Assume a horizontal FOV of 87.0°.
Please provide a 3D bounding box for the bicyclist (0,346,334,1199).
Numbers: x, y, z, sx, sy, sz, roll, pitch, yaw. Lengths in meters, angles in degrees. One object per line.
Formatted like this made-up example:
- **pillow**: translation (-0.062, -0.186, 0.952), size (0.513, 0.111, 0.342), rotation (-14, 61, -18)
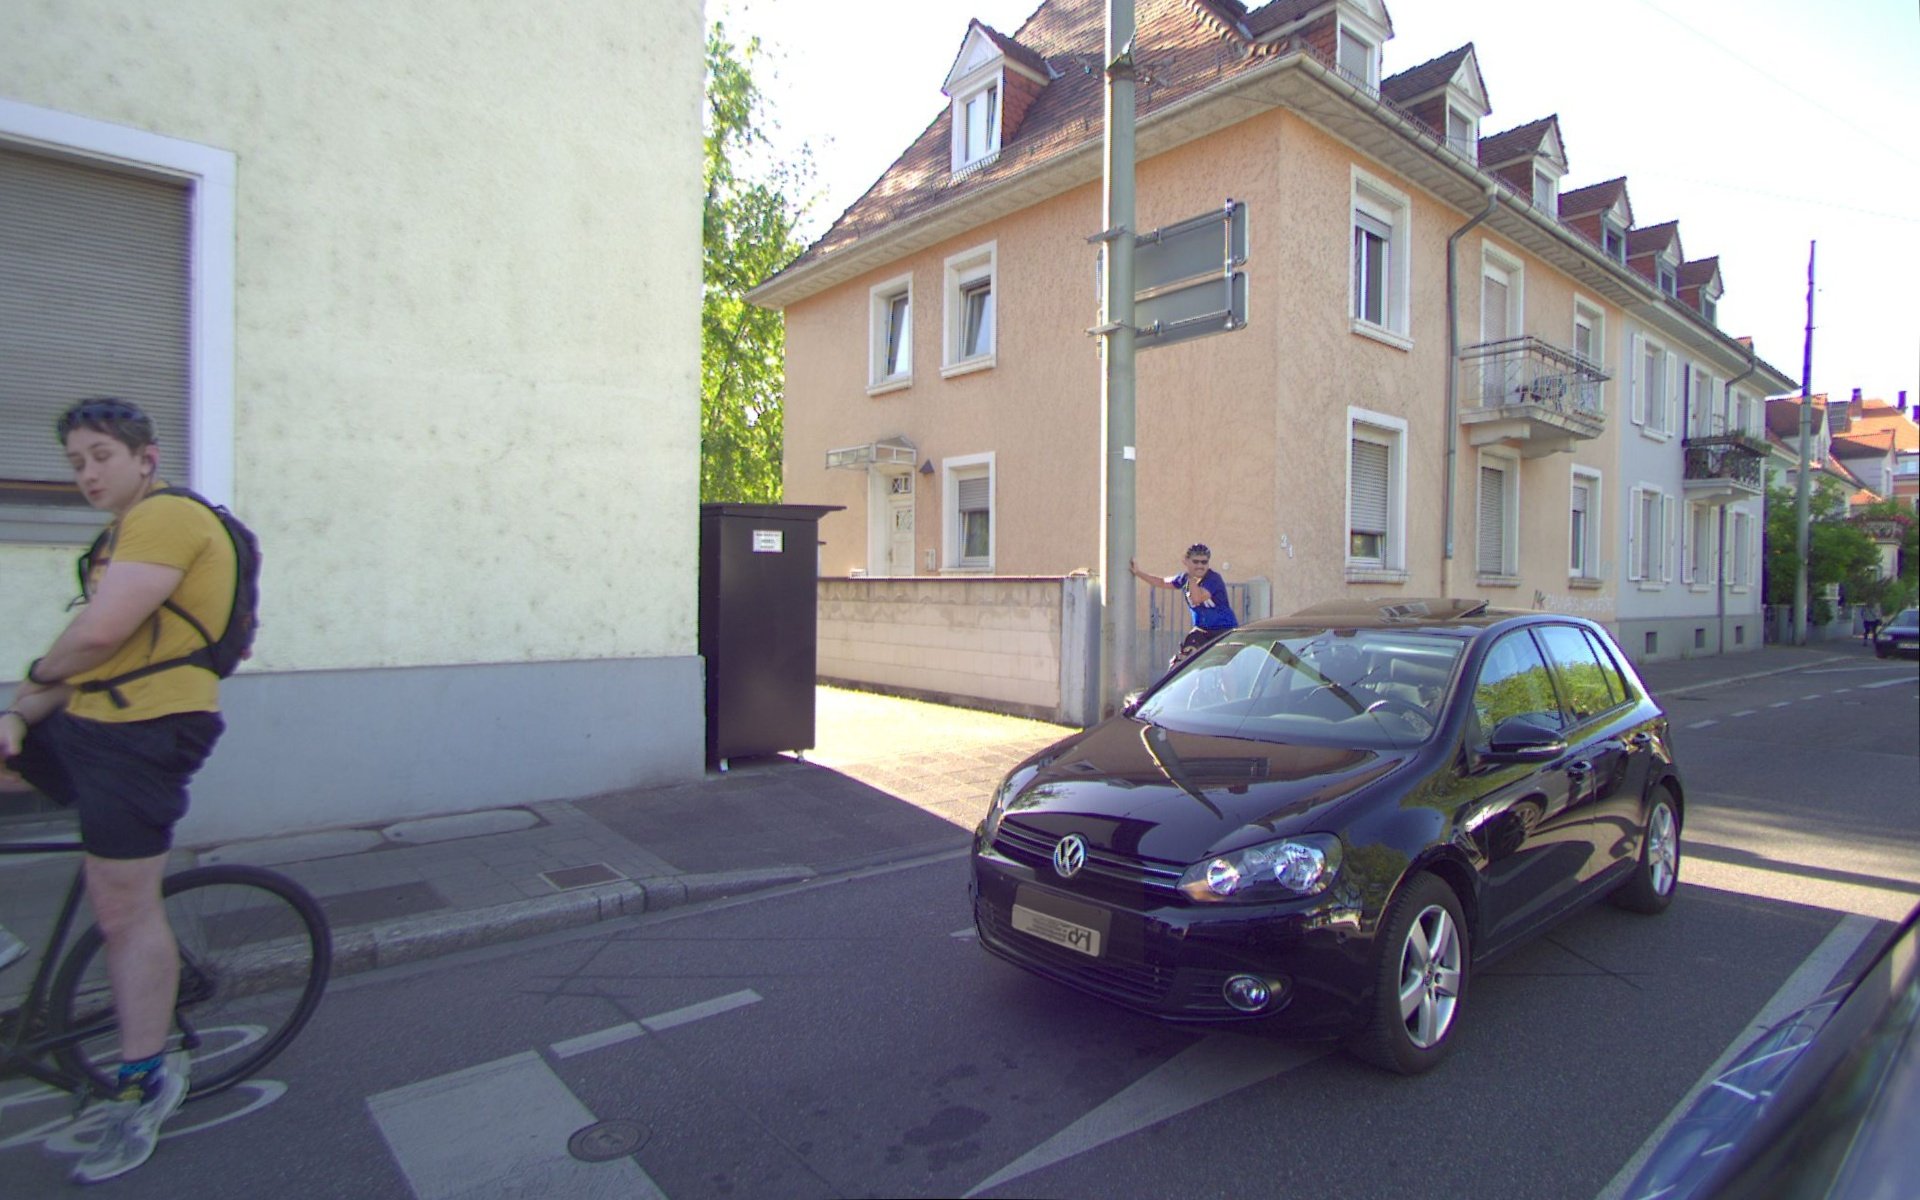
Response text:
- **bicyclist**: translation (-2.303, 0.419, 2.762), size (0.777, 1.991, 0.768), rotation (0, 0, 36)

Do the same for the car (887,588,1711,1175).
- **car**: translation (1.755, 0.684, 4.472), size (3.921, 1.456, 1.716), rotation (-1, 0, -41)

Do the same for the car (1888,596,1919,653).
- **car**: translation (26.750, 0.623, 27.436), size (4.258, 1.448, 1.824), rotation (-1, 0, -40)

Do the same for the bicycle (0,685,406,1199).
- **bicycle**: translation (-2.470, 0.859, 2.555), size (0.777, 1.120, 1.720), rotation (0, 0, 36)

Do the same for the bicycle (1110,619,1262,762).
- **bicycle**: translation (2.053, 0.759, 9.068), size (0.554, 1.088, 1.601), rotation (6, 4, 42)

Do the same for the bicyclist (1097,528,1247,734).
- **bicyclist**: translation (1.918, 0.243, 9.190), size (1.018, 1.714, 0.718), rotation (6, 4, 42)
